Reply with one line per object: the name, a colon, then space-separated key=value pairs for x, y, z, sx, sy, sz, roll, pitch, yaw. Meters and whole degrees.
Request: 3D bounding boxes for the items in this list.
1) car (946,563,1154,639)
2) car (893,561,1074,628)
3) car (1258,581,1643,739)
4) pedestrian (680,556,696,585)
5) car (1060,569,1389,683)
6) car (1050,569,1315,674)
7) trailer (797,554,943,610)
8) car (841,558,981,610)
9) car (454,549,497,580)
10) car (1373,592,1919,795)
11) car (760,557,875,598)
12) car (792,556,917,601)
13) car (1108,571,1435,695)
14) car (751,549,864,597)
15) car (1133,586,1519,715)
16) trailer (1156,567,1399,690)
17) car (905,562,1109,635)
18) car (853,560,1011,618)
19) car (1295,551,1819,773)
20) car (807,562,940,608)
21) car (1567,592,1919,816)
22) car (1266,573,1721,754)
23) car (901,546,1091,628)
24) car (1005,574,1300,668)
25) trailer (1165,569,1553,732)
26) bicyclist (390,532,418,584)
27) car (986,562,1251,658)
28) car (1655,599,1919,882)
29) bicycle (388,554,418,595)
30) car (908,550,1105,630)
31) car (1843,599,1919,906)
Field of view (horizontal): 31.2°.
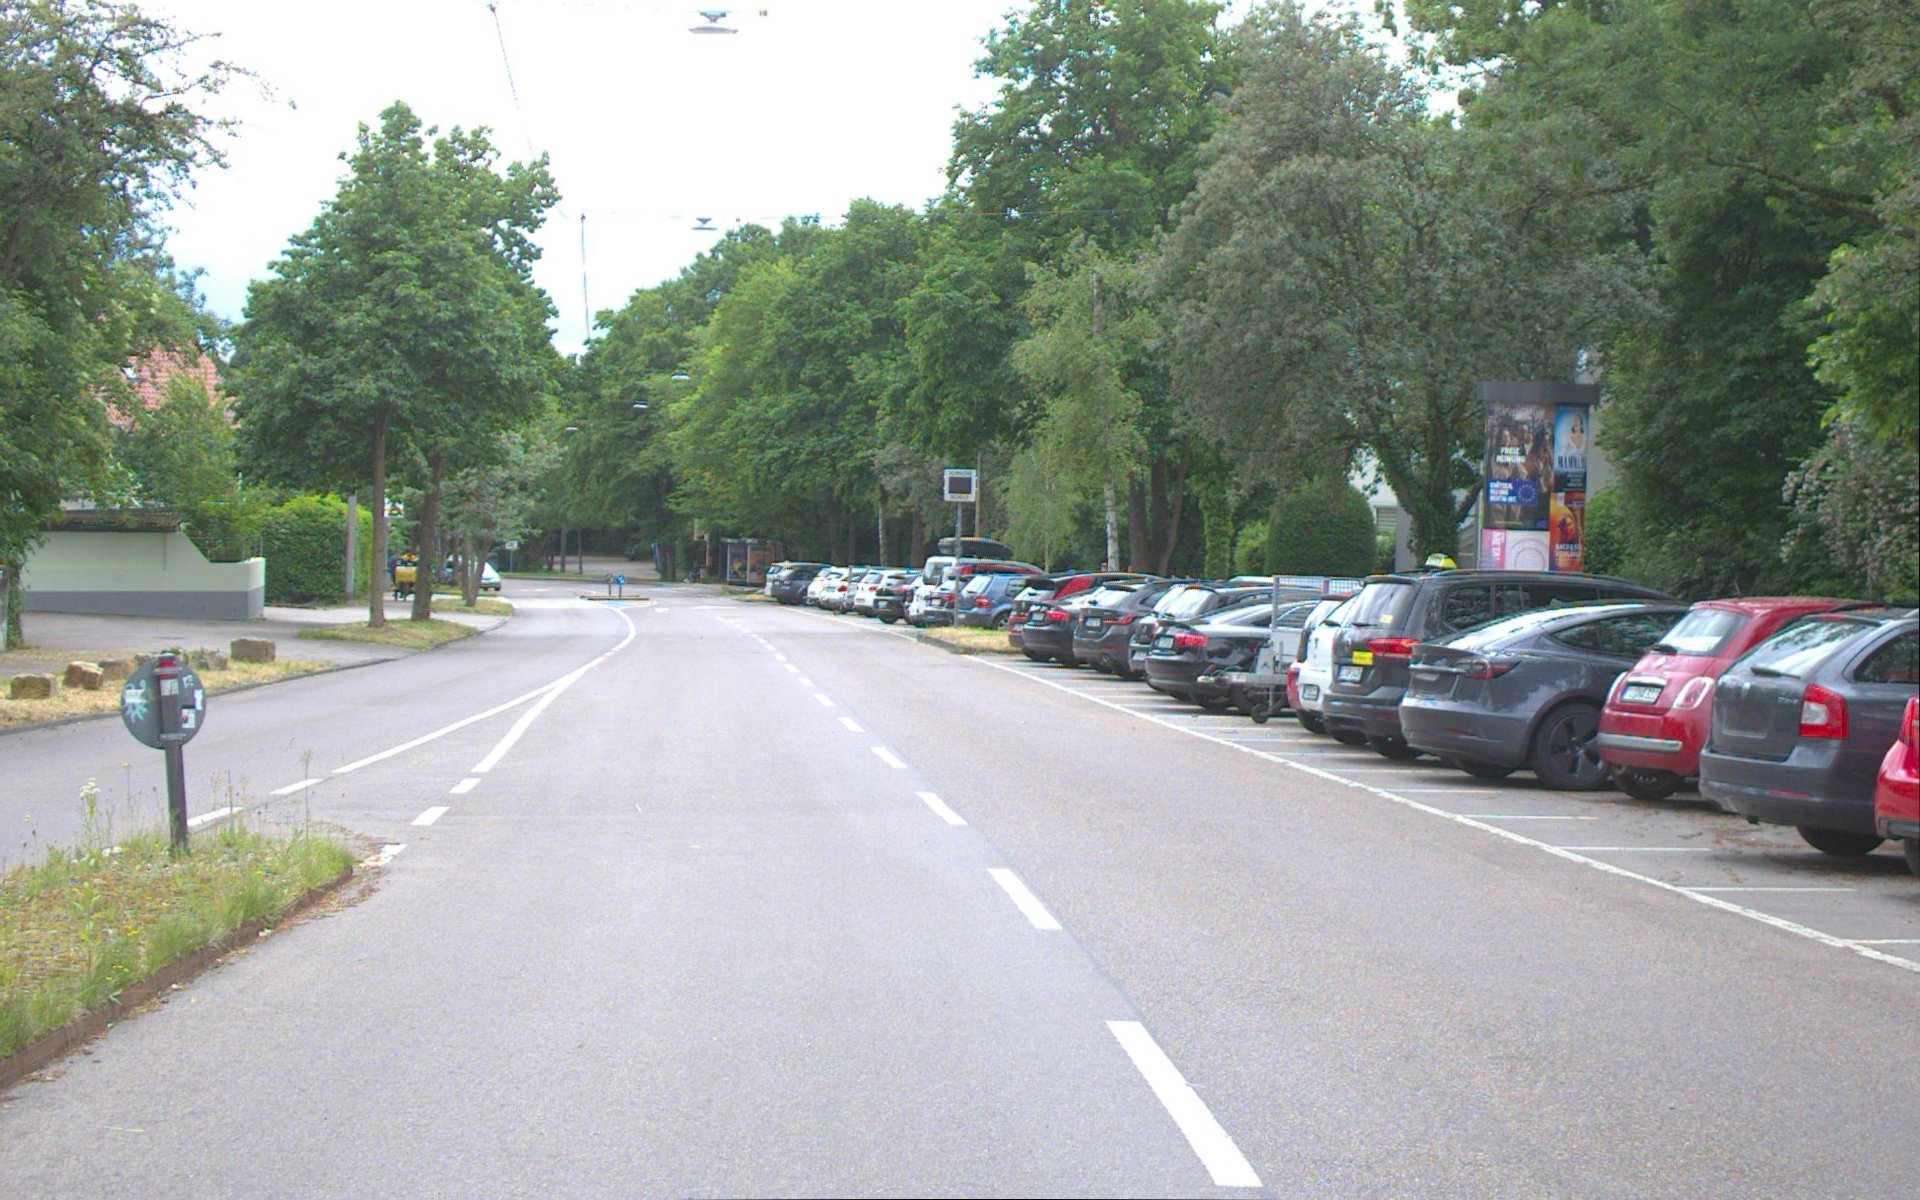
car: x=1.890 y=0.026 z=72.492 sx=3.963 sy=1.400 sz=1.757 roll=2 pitch=1 yaw=-19
car: x=0.565 y=-0.143 z=84.177 sx=3.965 sy=1.444 sz=1.919 roll=2 pitch=0 yaw=-19
car: x=4.893 y=0.593 z=34.390 sx=3.423 sy=1.440 sz=1.560 roll=2 pitch=0 yaw=-16
pedestrian: x=-14.687 y=-1.579 z=185.656 sx=0.741 sy=1.564 sz=0.651 roll=1 pitch=0 yaw=6
car: x=3.780 y=0.370 z=49.140 sx=4.343 sy=1.440 sz=1.635 roll=2 pitch=1 yaw=-18
car: x=3.363 y=0.319 z=52.143 sx=3.609 sy=1.440 sz=1.634 roll=2 pitch=1 yaw=-20
trailer: x=-2.815 y=-0.565 z=107.605 sx=4.153 sy=1.568 sz=1.712 roll=2 pitch=0 yaw=-23
car: x=-1.509 y=-0.489 z=105.445 sx=3.883 sy=1.444 sz=1.744 roll=2 pitch=1 yaw=-25
car: x=-23.877 y=-1.742 z=169.273 sx=1.866 sy=1.466 sz=4.001 roll=1 pitch=1 yaw=-11
car: x=5.467 y=0.712 z=26.490 sx=4.158 sy=1.402 sz=1.698 roll=2 pitch=0 yaw=-15
car: x=-5.319 y=-0.840 z=128.530 sx=3.883 sy=1.424 sz=1.744 roll=2 pitch=1 yaw=-24
car: x=-3.635 y=-0.738 z=118.626 sx=3.883 sy=1.424 sz=1.744 roll=2 pitch=1 yaw=-24
car: x=4.031 y=0.422 z=44.630 sx=3.839 sy=1.450 sz=1.634 roll=2 pitch=1 yaw=-16
car: x=-5.838 y=-1.030 z=131.286 sx=3.883 sy=1.662 sz=1.744 roll=2 pitch=0 yaw=-24
car: x=4.149 y=0.567 z=39.115 sx=4.035 sy=1.323 sz=1.560 roll=2 pitch=0 yaw=-13
trailer: x=4.335 y=0.388 z=47.011 sx=2.985 sy=1.537 sz=1.304 roll=2 pitch=1 yaw=-17
car: x=1.029 y=-0.044 z=75.041 sx=4.026 sy=1.400 sz=1.757 roll=2 pitch=1 yaw=-22
car: x=-0.758 y=-0.310 z=94.352 sx=3.884 sy=1.444 sz=1.844 roll=2 pitch=1 yaw=-28
car: x=5.033 y=0.518 z=29.138 sx=3.984 sy=1.719 sz=1.681 roll=2 pitch=0 yaw=-13
car: x=-2.773 y=-0.481 z=110.305 sx=3.884 sy=1.305 sz=1.744 roll=2 pitch=1 yaw=-28
car: x=6.212 y=0.736 z=24.396 sx=3.325 sy=1.459 sz=1.635 roll=2 pitch=0 yaw=-14
car: x=4.921 y=0.577 z=31.926 sx=3.819 sy=1.524 sz=1.606 roll=2 pitch=0 yaw=-8
car: x=0.856 y=-0.310 z=80.901 sx=4.085 sy=1.748 sz=1.787 roll=2 pitch=1 yaw=-31
car: x=3.051 y=0.330 z=54.698 sx=4.311 sy=1.336 sz=1.734 roll=2 pitch=0 yaw=-18
trailer: x=4.221 y=0.531 z=36.562 sx=3.687 sy=1.530 sz=1.646 roll=2 pitch=1 yaw=-15
bicyclist: x=-18.412 y=-1.387 z=113.814 sx=0.844 sy=1.691 sz=0.714 roll=2 pitch=1 yaw=-6
car: x=2.658 y=0.168 z=57.521 sx=4.070 sy=1.510 sz=1.734 roll=1 pitch=1 yaw=-26
car: x=6.271 y=0.808 z=19.495 sx=4.218 sy=1.459 sz=1.635 roll=2 pitch=1 yaw=-13
bicycle: x=-18.434 y=-0.851 z=113.832 sx=0.844 sy=1.262 sz=2.653 roll=2 pitch=1 yaw=-7
car: x=1.046 y=-0.230 z=77.999 sx=3.995 sy=1.614 sz=1.885 roll=2 pitch=1 yaw=-20
car: x=6.380 y=0.802 z=17.013 sx=3.522 sy=1.471 sz=1.593 roll=2 pitch=1 yaw=-16
